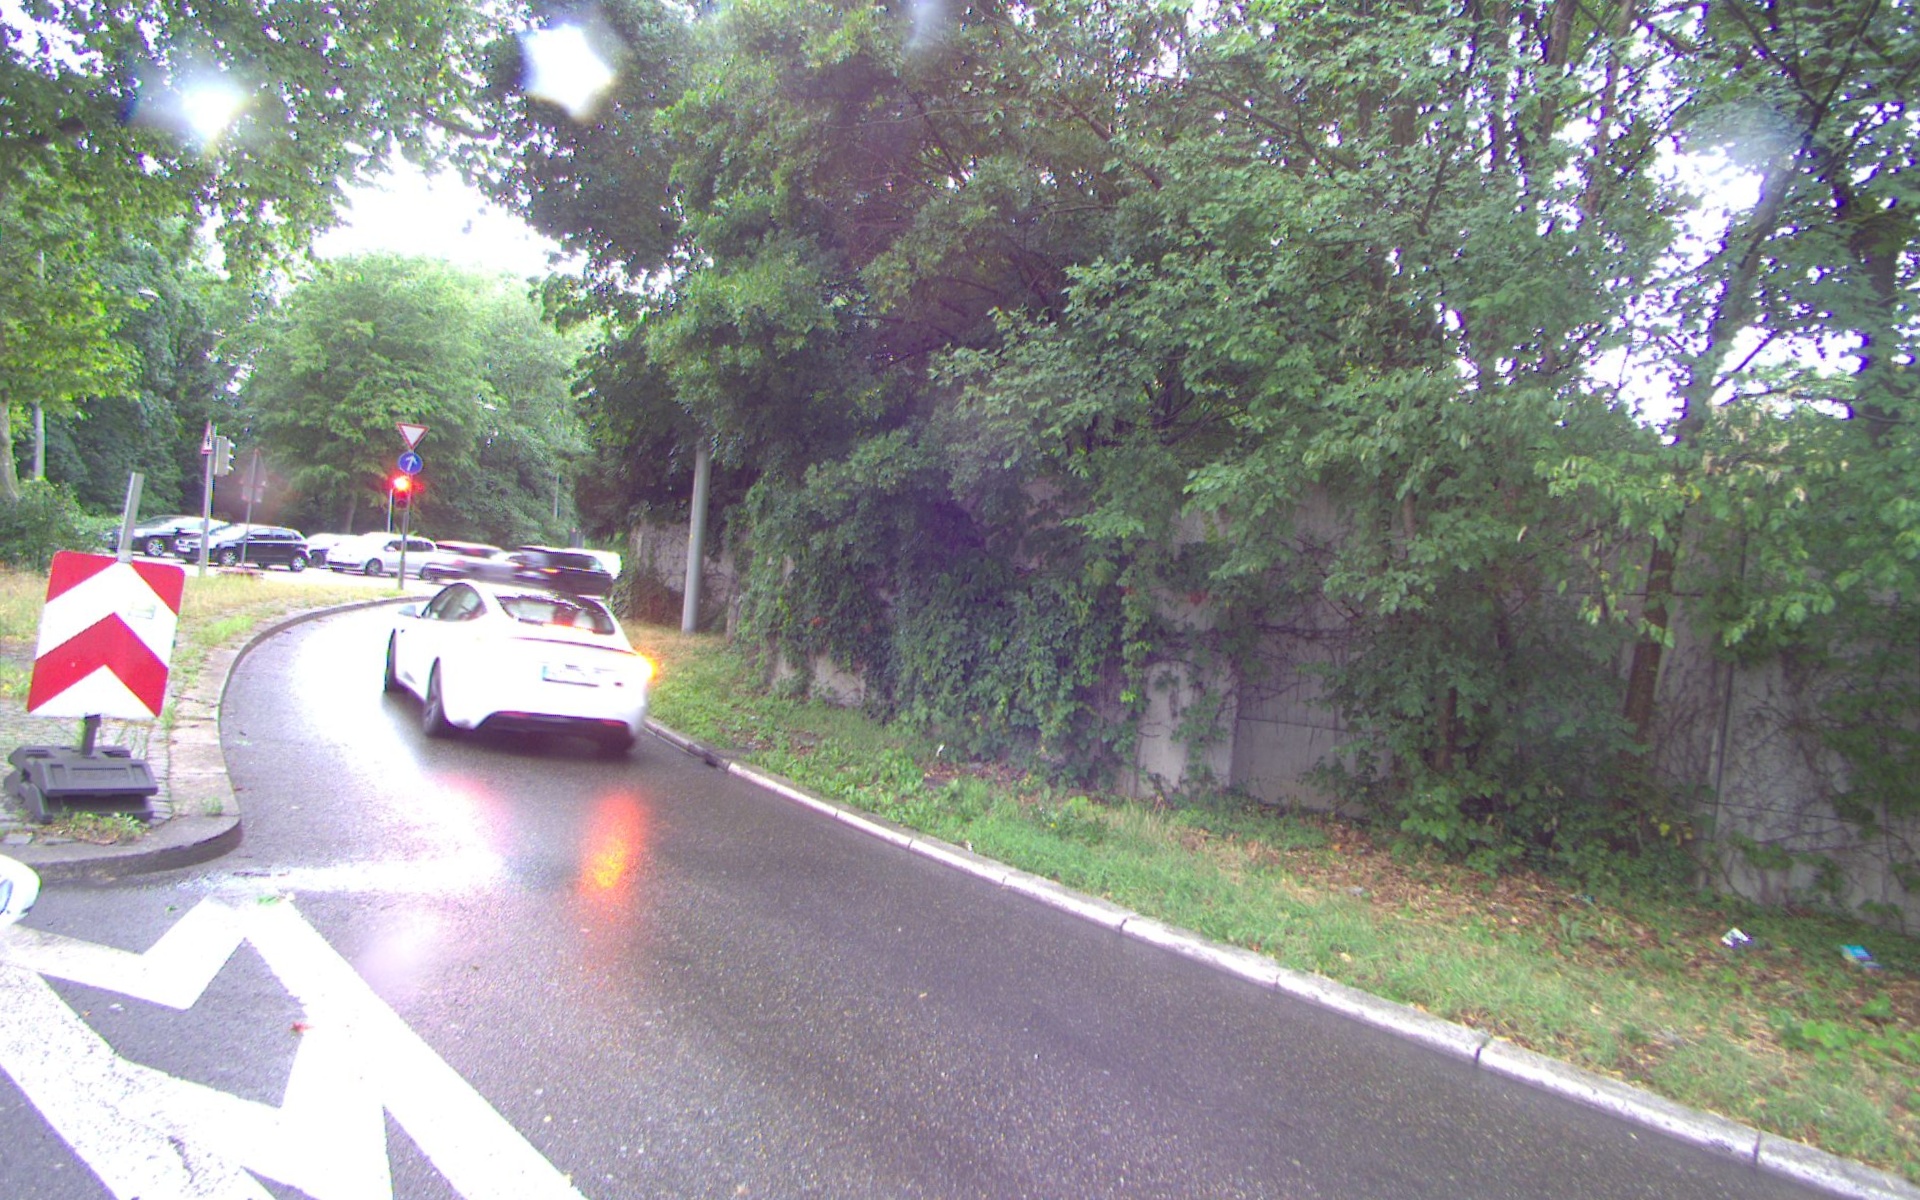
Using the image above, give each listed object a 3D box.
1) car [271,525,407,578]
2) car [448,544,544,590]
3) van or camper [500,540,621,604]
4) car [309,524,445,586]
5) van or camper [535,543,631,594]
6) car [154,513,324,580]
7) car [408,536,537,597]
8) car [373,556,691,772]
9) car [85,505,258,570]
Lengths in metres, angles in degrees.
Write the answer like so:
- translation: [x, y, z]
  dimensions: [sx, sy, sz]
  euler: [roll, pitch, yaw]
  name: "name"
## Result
- translation: [-24.717, -1.881, 40.246]
  dimensions: [1.795, 1.418, 4.452]
  euler: [7, -2, 16]
  name: "car"
- translation: [-20.550, -1.438, 44.701]
  dimensions: [1.627, 1.478, 3.869]
  euler: [7, -2, 16]
  name: "car"
- translation: [-15.675, -1.045, 39.760]
  dimensions: [1.962, 1.902, 4.722]
  euler: [7, -2, 12]
  name: "van or camper"
- translation: [-22.091, -1.665, 38.332]
  dimensions: [1.871, 1.699, 4.215]
  euler: [7, -2, 16]
  name: "car"
- translation: [-19.114, -1.553, 51.291]
  dimensions: [1.871, 1.970, 4.869]
  euler: [7, -1, 16]
  name: "van or camper"
- translation: [-23.325, -1.681, 32.743]
  dimensions: [1.759, 1.477, 4.205]
  euler: [7, -2, 16]
  name: "car"
- translation: [-18.784, -1.257, 38.999]
  dimensions: [1.913, 1.699, 4.290]
  euler: [7, -2, 18]
  name: "car"
- translation: [-4.643, 0.527, 10.441]
  dimensions: [1.845, 1.464, 4.571]
  euler: [11, -3, -37]
  name: "car"
- translation: [-26.698, -2.076, 34.251]
  dimensions: [1.913, 1.457, 4.218]
  euler: [7, -2, 16]
  name: "car"
